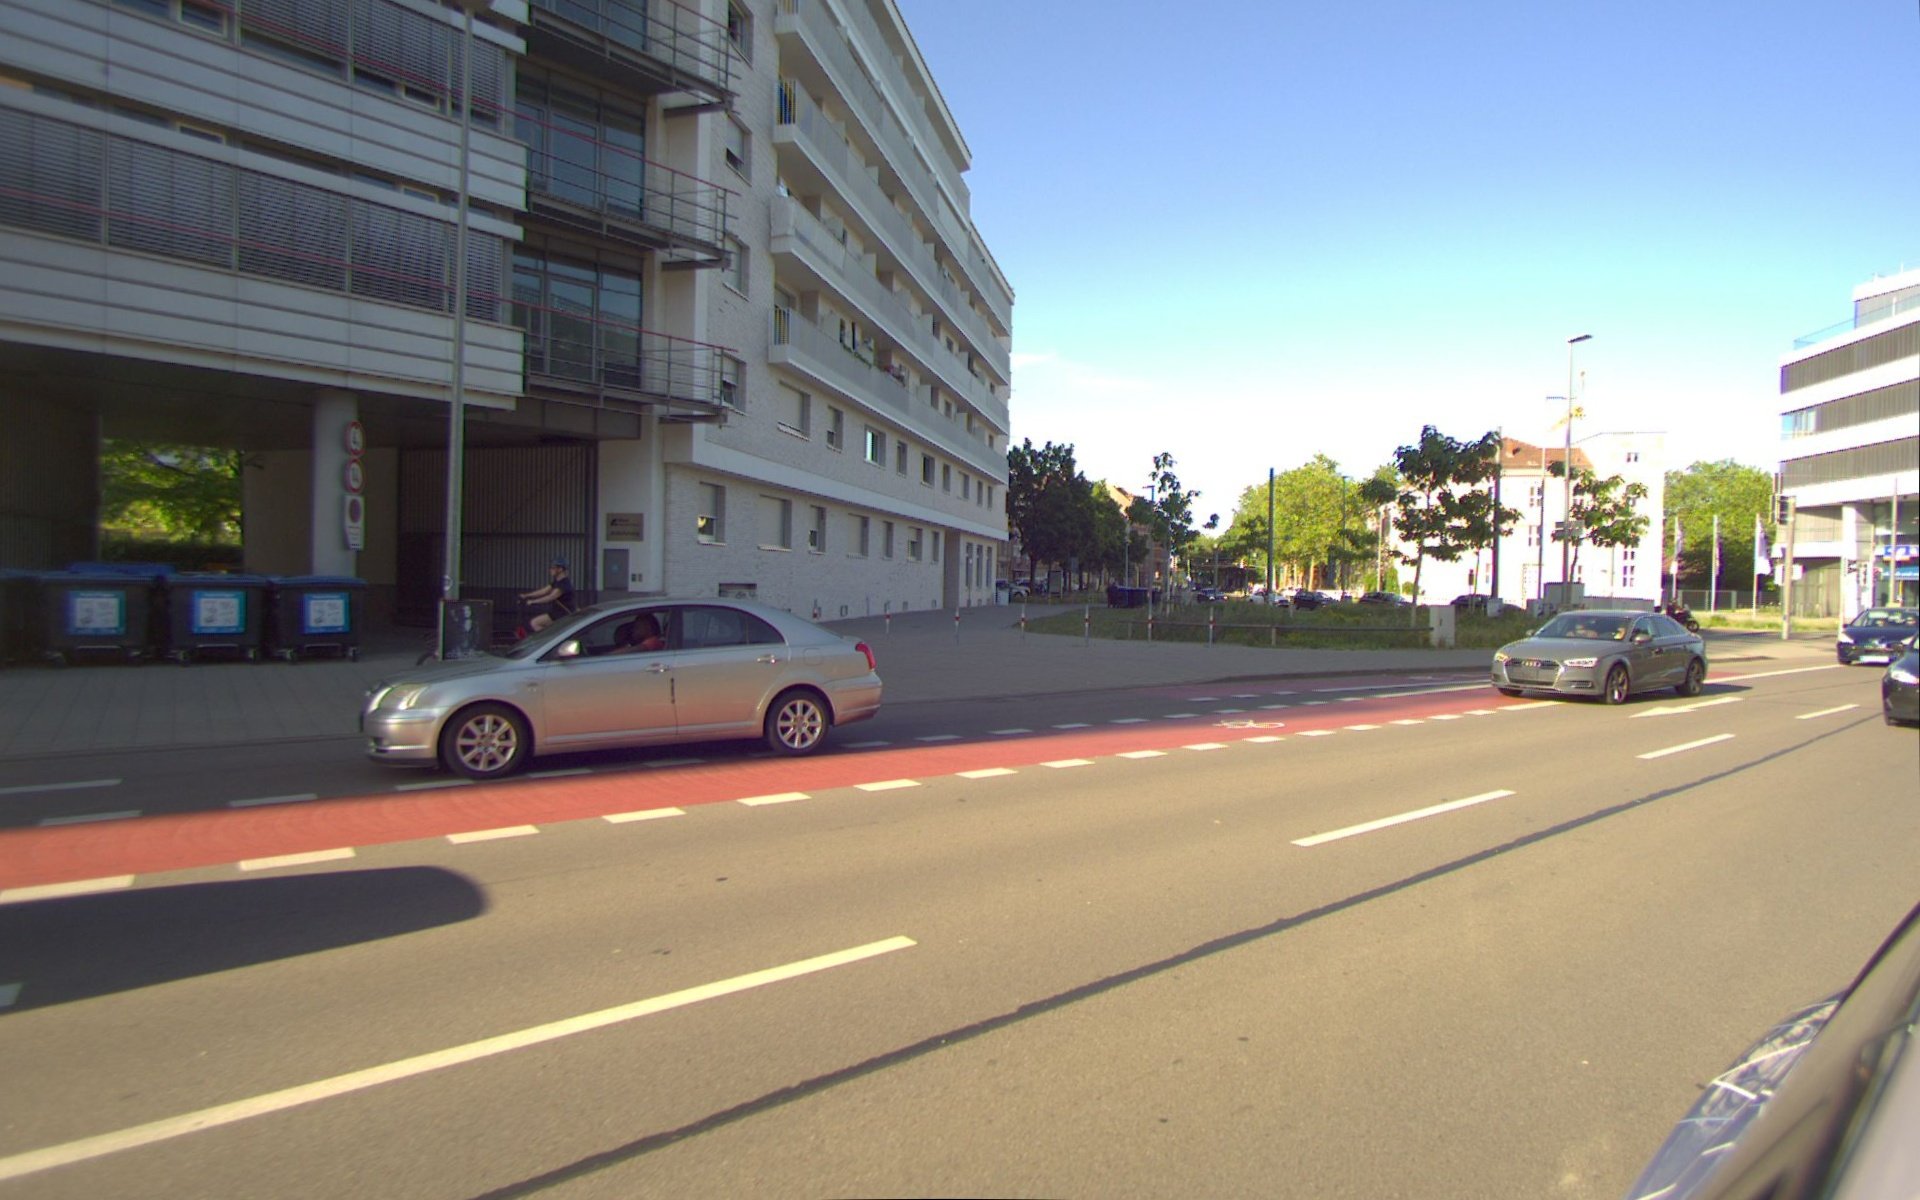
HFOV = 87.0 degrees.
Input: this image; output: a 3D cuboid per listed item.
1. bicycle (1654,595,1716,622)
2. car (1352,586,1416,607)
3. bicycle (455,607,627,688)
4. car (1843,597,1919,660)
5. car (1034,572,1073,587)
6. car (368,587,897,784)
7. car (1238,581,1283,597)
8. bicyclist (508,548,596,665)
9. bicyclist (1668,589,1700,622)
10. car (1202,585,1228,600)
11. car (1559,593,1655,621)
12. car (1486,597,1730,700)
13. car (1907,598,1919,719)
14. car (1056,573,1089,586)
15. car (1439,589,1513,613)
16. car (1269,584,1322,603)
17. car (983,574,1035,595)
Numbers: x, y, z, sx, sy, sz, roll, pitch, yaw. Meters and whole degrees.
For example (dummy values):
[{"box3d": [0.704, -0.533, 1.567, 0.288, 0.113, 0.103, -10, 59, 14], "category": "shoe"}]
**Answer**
[{"box3d": [36.757, 0.416, 51.348, 0.932, 1.328, 2.376, 0, 1, -27], "category": "bicycle"}, {"box3d": [30.407, -0.275, 72.676, 1.958, 1.440, 4.009, 0, 1, -21], "category": "car"}, {"box3d": [-5.841, 0.629, 14.190, 2.163, 1.045, 0.500, 0, 1, -33], "category": "bicycle"}, {"box3d": [23.899, 0.672, 25.754, 3.933, 1.464, 1.733, 0, 2, -43], "category": "car"}, {"box3d": [11.262, -2.458, 121.635, 4.172, 1.738, 2.005, 0, 1, -17], "category": "car"}, {"box3d": [-2.956, 0.641, 9.461, 4.398, 1.449, 1.759, 0, 1, -29], "category": "car"}, {"box3d": [26.033, -0.964, 87.850, 1.958, 1.259, 4.009, 1, 1, -15], "category": "car"}, {"box3d": [-5.730, 0.082, 14.209, 1.023, 1.586, 0.626, 0, 1, -34], "category": "bicyclist"}, {"box3d": [36.765, 0.255, 51.367, 0.862, 1.627, 1.009, 0, 1, -27], "category": "bicyclist"}, {"box3d": [24.545, -0.763, 97.625, 1.901, 1.393, 3.993, 1, 1, 7], "category": "car"}, {"box3d": [36.842, 0.372, 57.770, 1.958, 1.440, 4.304, 0, 1, -21], "category": "car"}, {"box3d": [10.500, 0.693, 16.344, 4.029, 1.459, 1.717, 0, 1, -31], "category": "car"}, {"box3d": [13.519, 0.714, 12.824, 4.079, 1.451, 1.689, 0, 1, -40], "category": "car"}, {"box3d": [15.491, -2.831, 139.309, 3.915, 1.838, 2.005, 0, 1, -18], "category": "car"}, {"box3d": [33.264, 0.030, 65.357, 1.958, 1.440, 4.009, 0, 1, -21], "category": "car"}, {"box3d": [27.307, -0.513, 82.615, 1.958, 1.440, 4.536, 1, 1, -14], "category": "car"}, {"box3d": [4.109, -1.304, 85.439, 3.919, 1.738, 2.003, 0, 1, -28], "category": "car"}]
